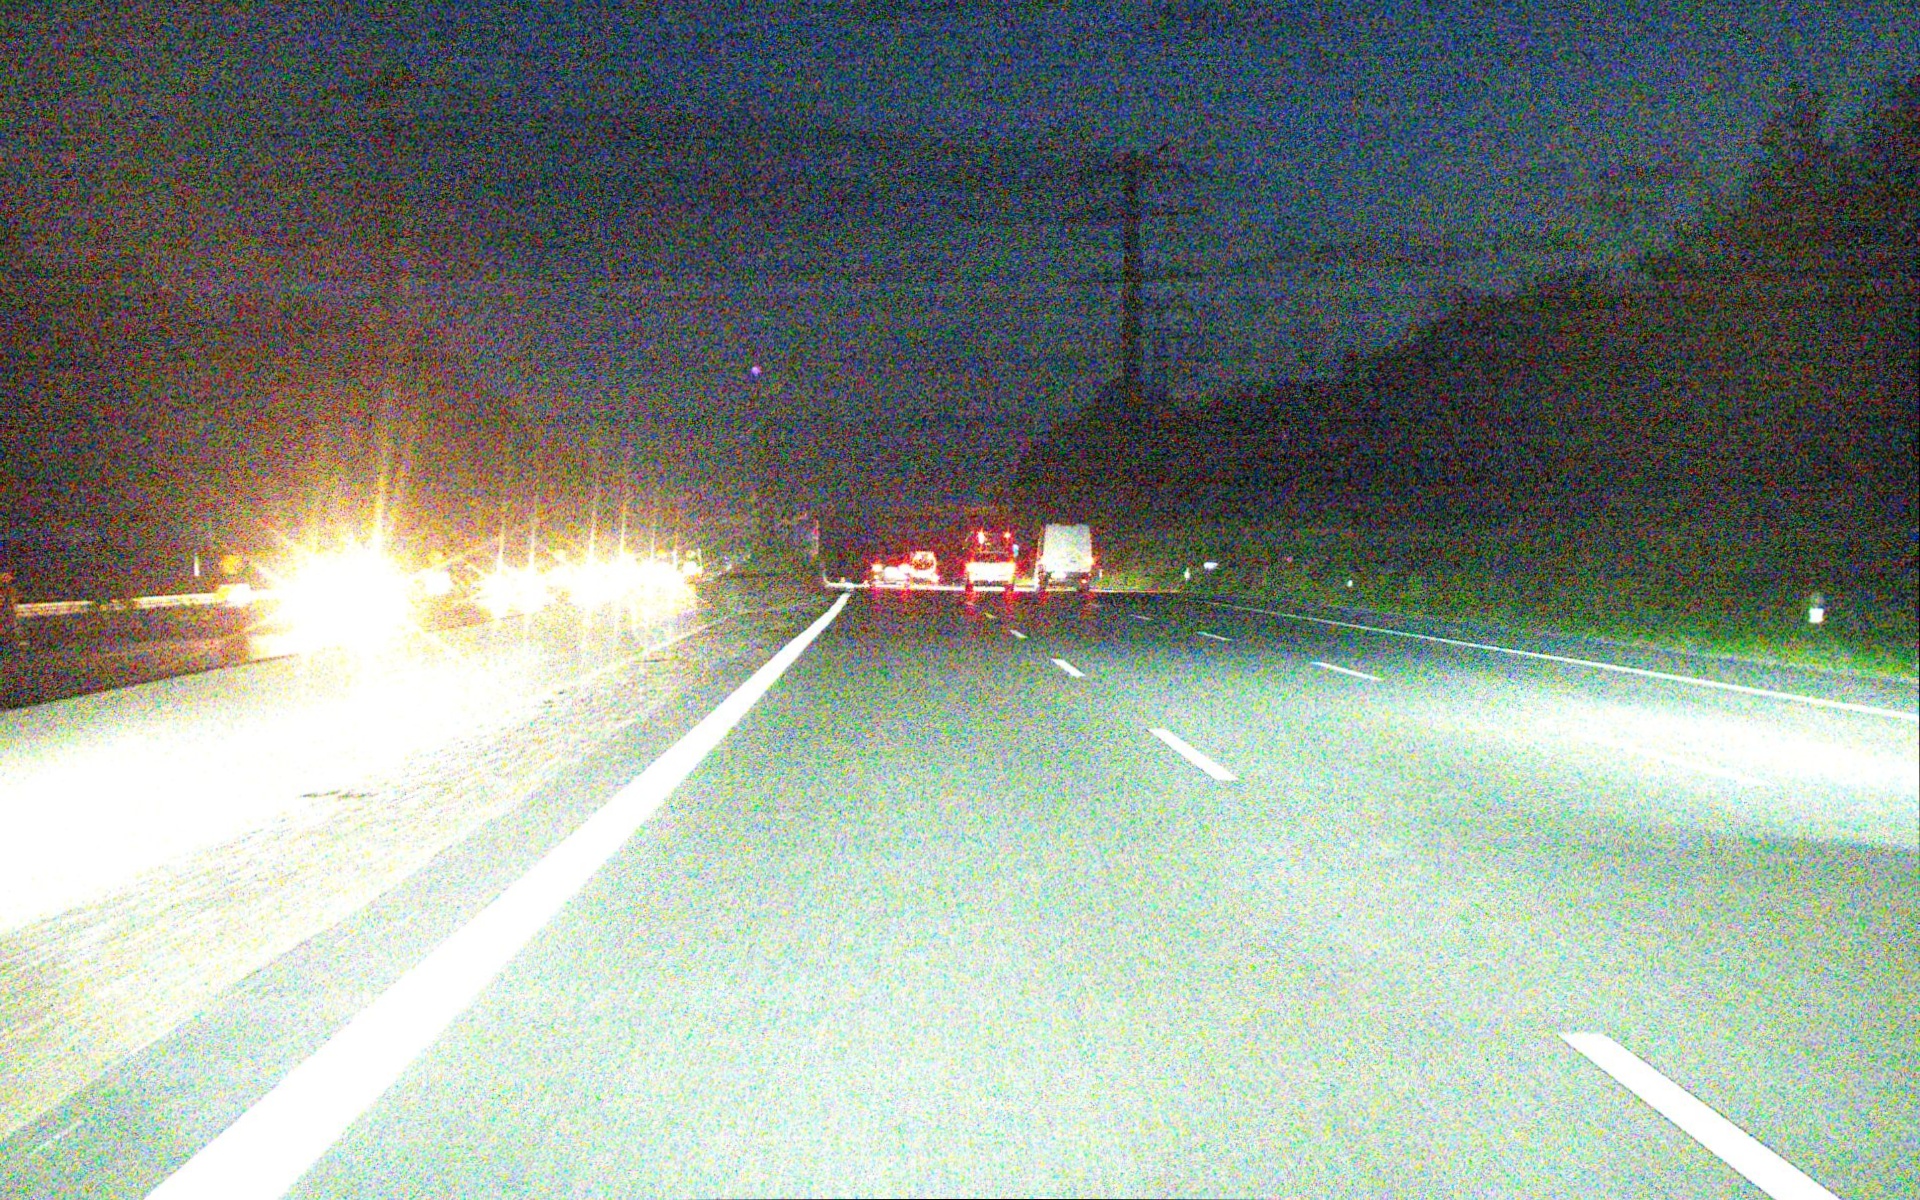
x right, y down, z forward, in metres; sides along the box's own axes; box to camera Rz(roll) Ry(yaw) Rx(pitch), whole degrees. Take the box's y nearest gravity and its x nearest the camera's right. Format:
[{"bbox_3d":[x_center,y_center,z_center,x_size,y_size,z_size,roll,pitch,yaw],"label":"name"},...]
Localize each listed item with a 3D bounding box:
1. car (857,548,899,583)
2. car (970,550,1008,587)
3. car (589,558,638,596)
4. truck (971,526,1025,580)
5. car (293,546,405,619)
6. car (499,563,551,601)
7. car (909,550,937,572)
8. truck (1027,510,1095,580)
[{"bbox_3d":[-3.631,-1.532,152.454,1.821,1.461,4.248,1,1,-1],"label":"car"},{"bbox_3d":[1.128,-1.249,134.715,1.346,1.382,3.502,1,1,-1],"label":"car"},{"bbox_3d":[-14.645,-0.994,145.457,1.750,1.473,4.583,-2,1,-2],"label":"car"},{"bbox_3d":[2.393,-3.065,220.958,3.044,3.313,10.143,1,1,-2],"label":"truck"},{"bbox_3d":[-13.296,-0.413,75.058,1.750,1.473,4.583,-2,1,-2],"label":"car"},{"bbox_3d":[-18.499,-0.777,146.306,1.750,1.473,4.583,-2,1,-2],"label":"car"},{"bbox_3d":[-2.524,-2.673,235.129,1.821,1.461,4.248,1,1,-1],"label":"car"},{"bbox_3d":[4.045,-2.256,138.796,2.076,2.681,7.309,1,1,-3],"label":"truck"}]
